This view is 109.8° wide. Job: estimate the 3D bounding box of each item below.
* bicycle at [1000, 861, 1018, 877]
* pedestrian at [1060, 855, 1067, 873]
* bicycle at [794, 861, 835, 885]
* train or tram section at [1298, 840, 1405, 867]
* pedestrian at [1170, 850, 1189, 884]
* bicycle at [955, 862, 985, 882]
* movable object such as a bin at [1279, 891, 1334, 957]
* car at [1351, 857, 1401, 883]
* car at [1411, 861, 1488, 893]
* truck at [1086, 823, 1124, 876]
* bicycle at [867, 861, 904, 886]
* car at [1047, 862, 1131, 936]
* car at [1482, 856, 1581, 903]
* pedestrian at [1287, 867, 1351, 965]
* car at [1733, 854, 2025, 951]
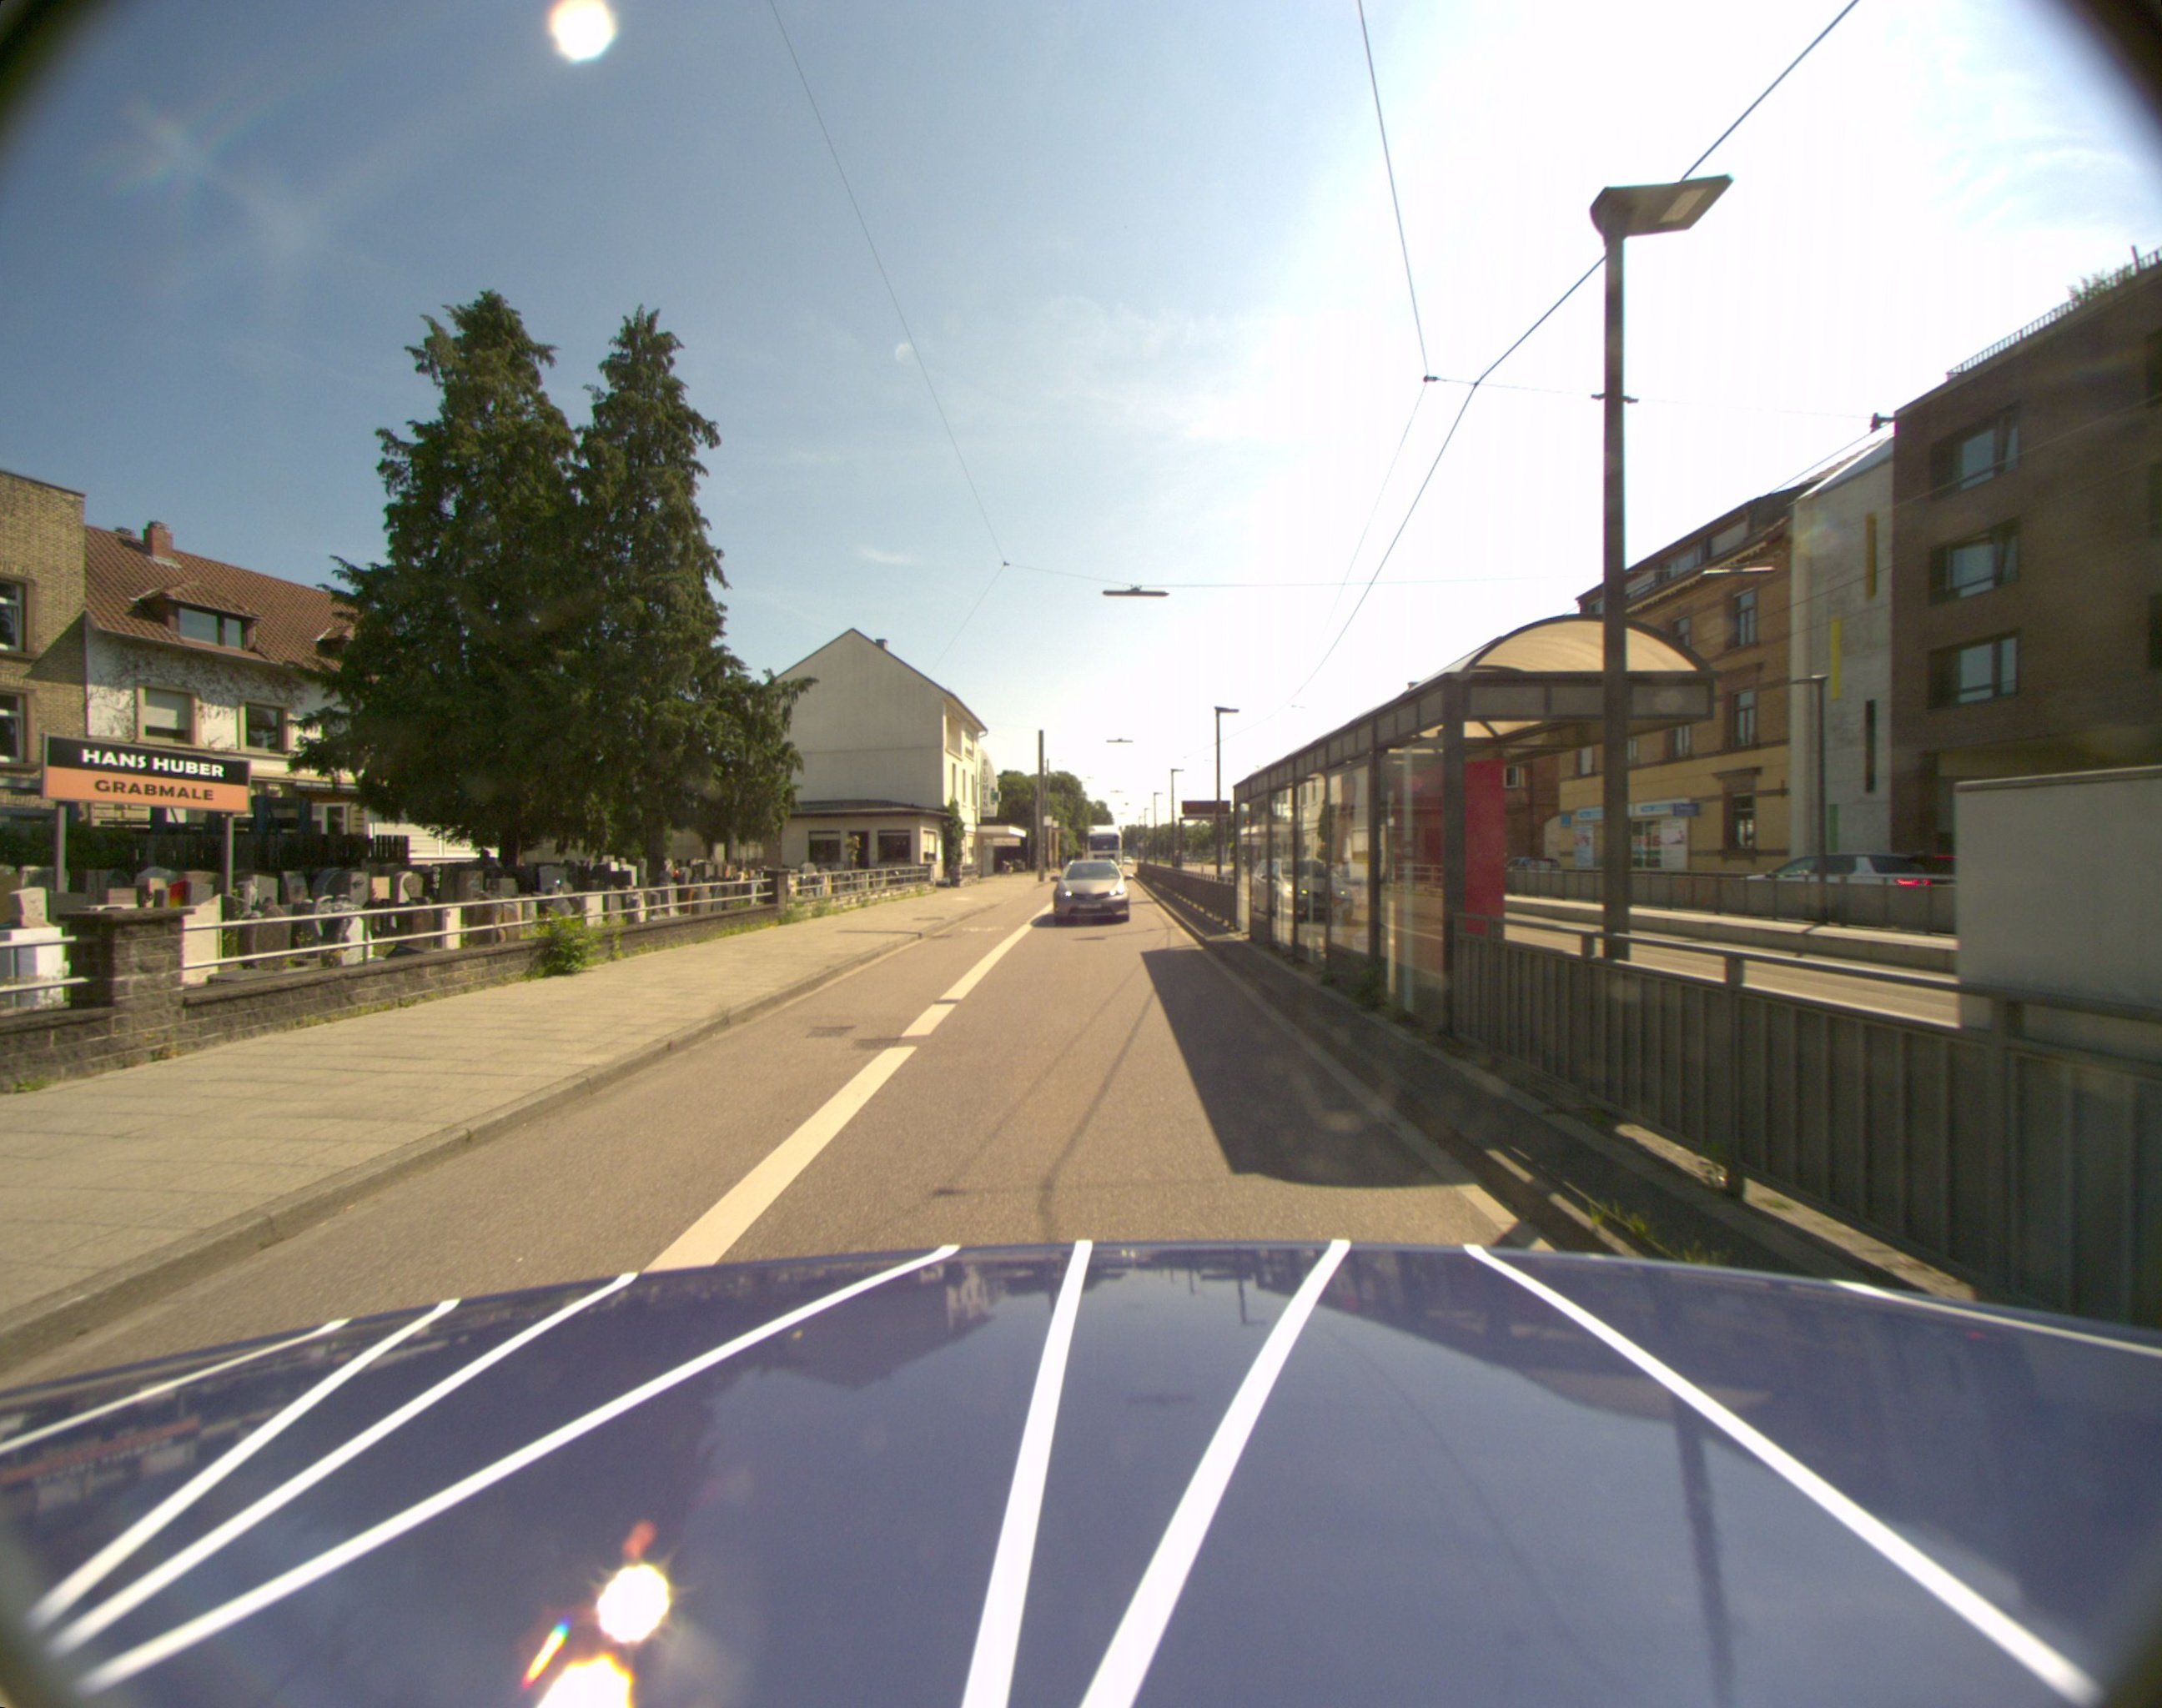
[{"bbox_3d":[-4.954,1.019,52.320,0.511,1.127,1.693,0,0,19],"label":"bicycle"},{"bbox_3d":[-1.683,0.943,71.865,0.499,1.616,0.500,2,0,10],"label":"pedestrian"},{"bbox_3d":[-12.278,0.870,35.019,1.689,1.104,0.512,1,0,4],"label":"bicycle"},{"bbox_3d":[35.769,-0.034,100.502,13.332,3.460,2.687,0,1,-3],"label":"train or tram section"},{"bbox_3d":[5.447,0.694,42.039,0.983,1.847,1.238,0,0,2],"label":"pedestrian"},{"bbox_3d":[-6.023,0.971,41.147,1.530,1.051,0.398,3,1,4],"label":"bicycle"},{"bbox_3d":[3.188,0.981,10.776,0.631,0.895,0.489,0,1,1],"label":"movable object such as a bin"},{"bbox_3d":[17.503,0.913,45.266,1.629,1.460,3.866,-1,-1,2],"label":"car"},{"bbox_3d":[17.547,1.051,36.432,1.635,1.355,4.521,0,0,2],"label":"car"},{"bbox_3d":[1.901,-0.333,58.520,2.656,3.772,7.864,0,0,3],"label":"truck"},{"bbox_3d":[-8.858,0.875,34.406,1.686,1.104,0.515,0,0,27],"label":"bicycle"},{"bbox_3d":[0.255,0.949,17.828,1.695,1.440,4.482,-1,0,2],"label":"car"},{"bbox_3d":[17.046,0.921,28.955,1.716,1.613,3.579,-1,0,2],"label":"car"},{"bbox_3d":[3.174,0.810,10.179,0.631,1.247,0.709,0,0,1],"label":"pedestrian"},{"bbox_3d":[16.332,0.895,15.942,1.805,1.718,4.189,-2,0,3],"label":"car"}]
